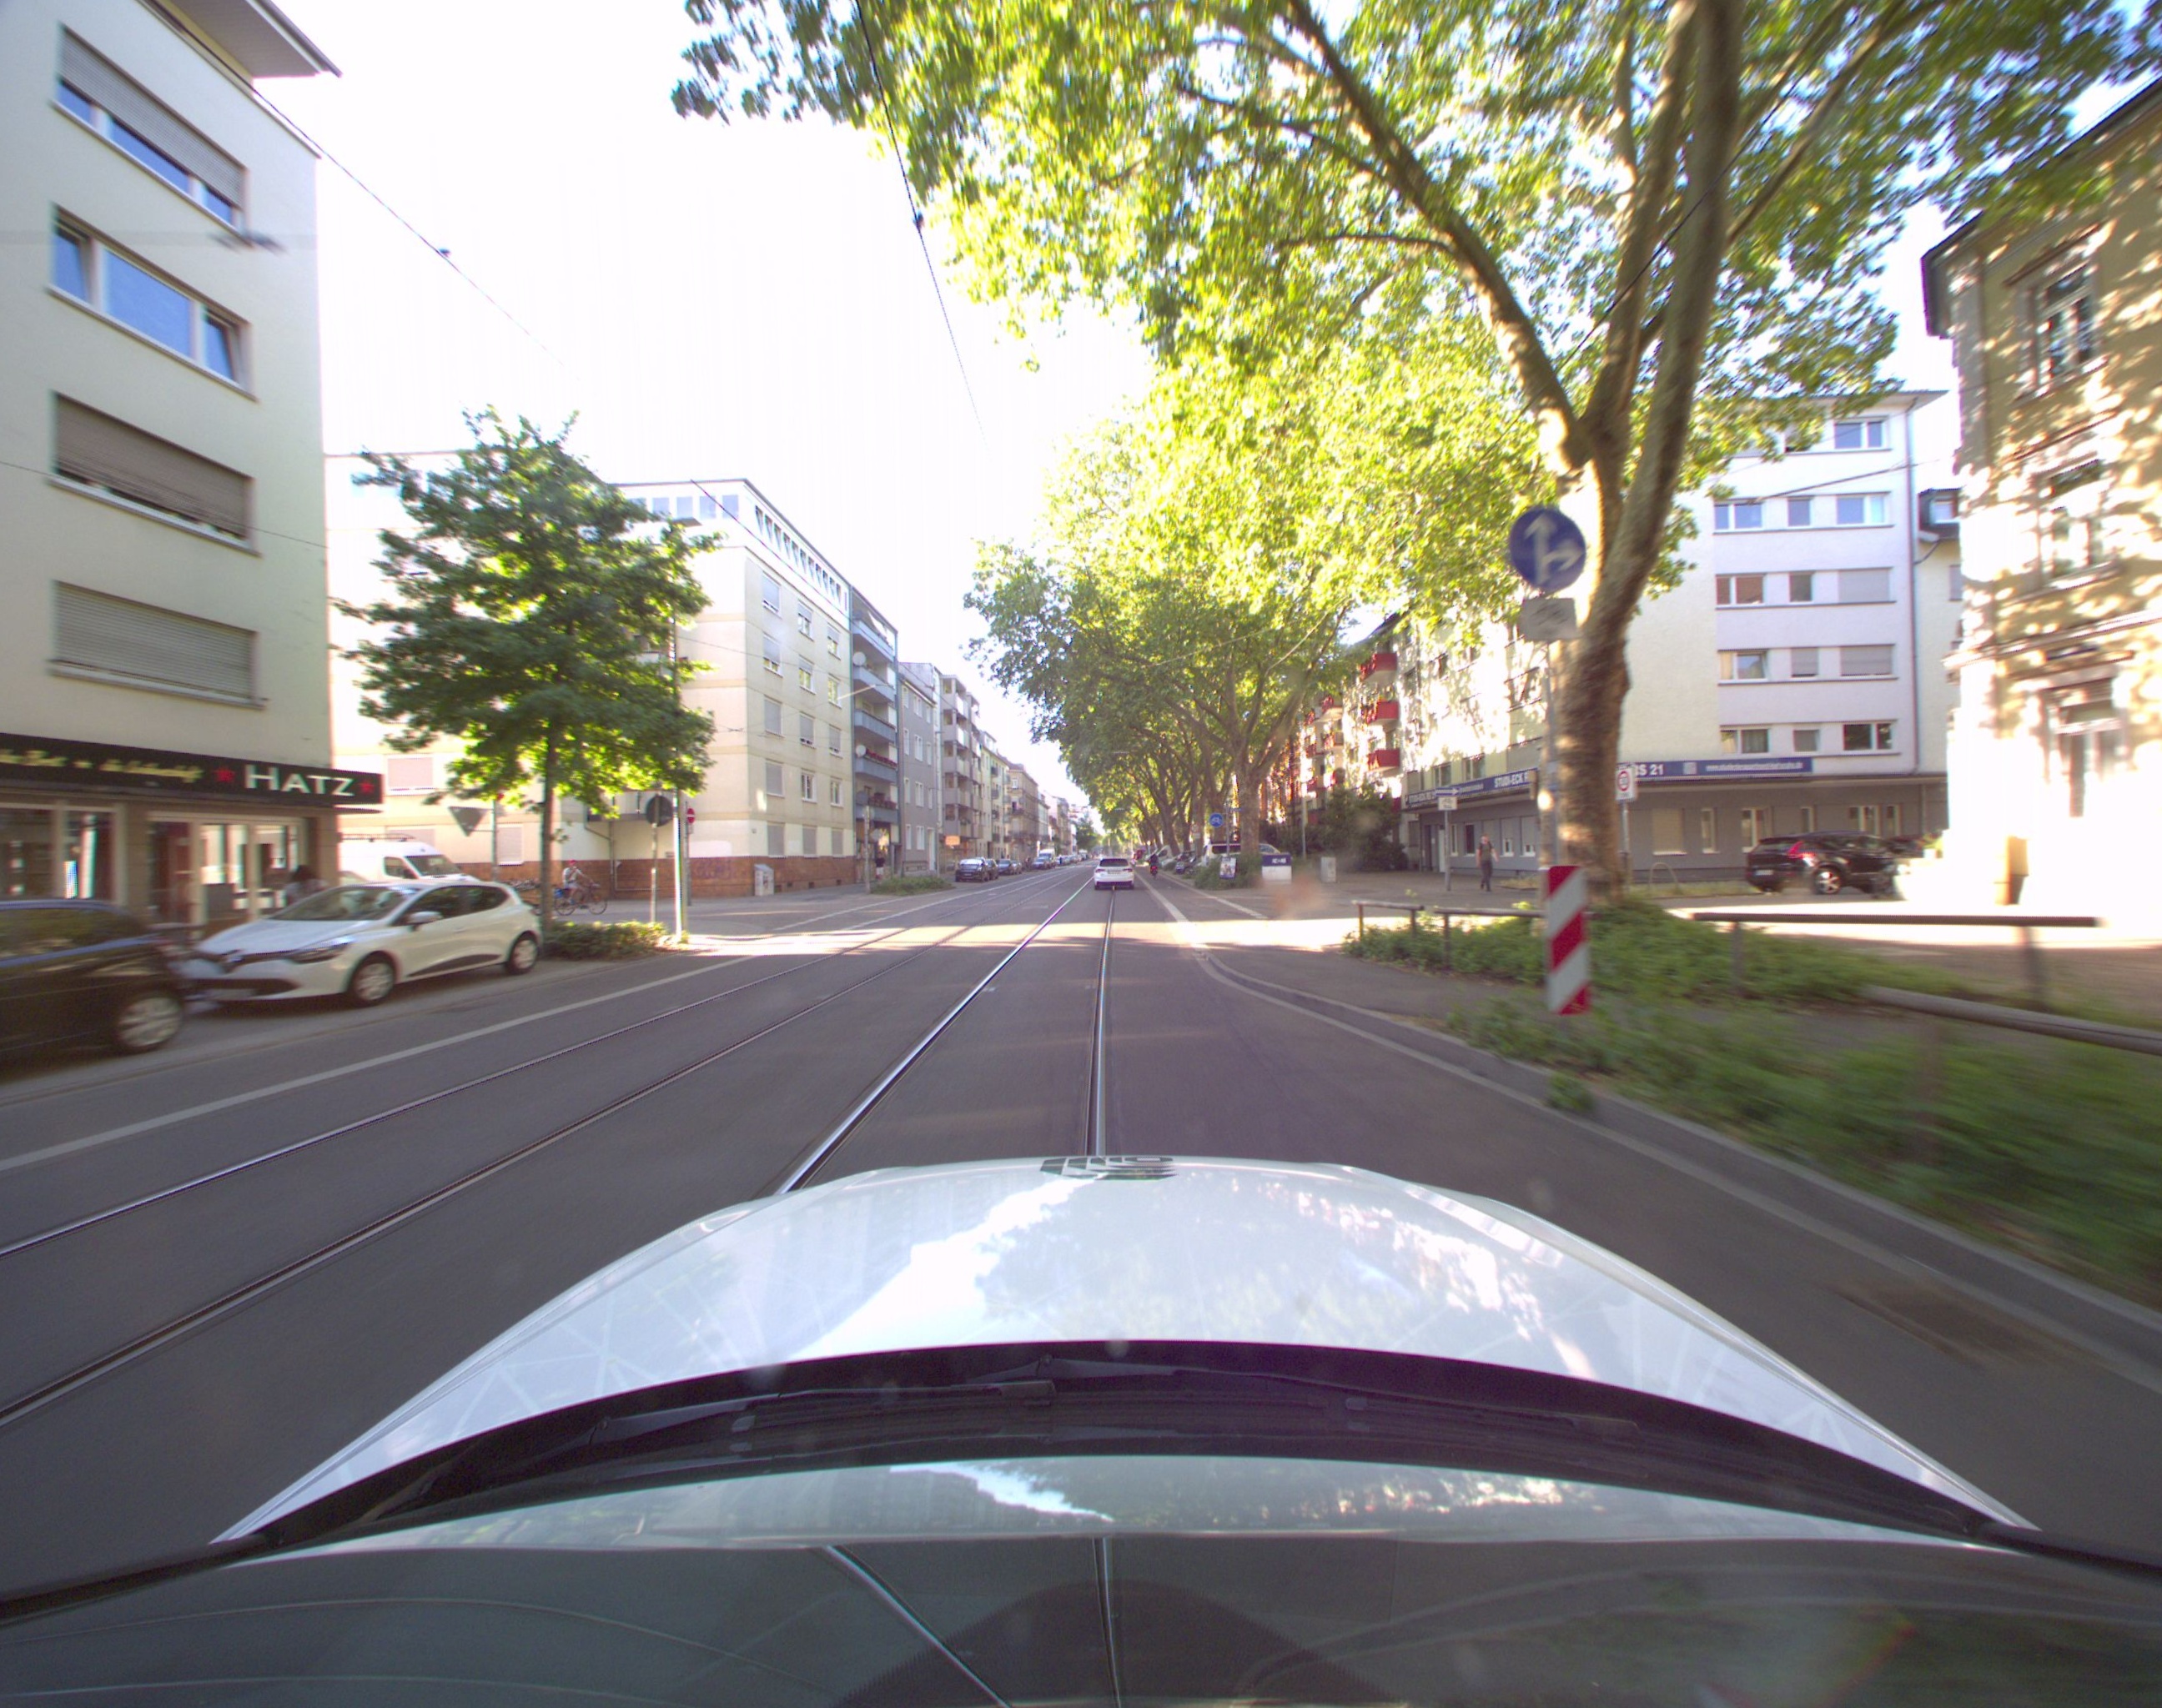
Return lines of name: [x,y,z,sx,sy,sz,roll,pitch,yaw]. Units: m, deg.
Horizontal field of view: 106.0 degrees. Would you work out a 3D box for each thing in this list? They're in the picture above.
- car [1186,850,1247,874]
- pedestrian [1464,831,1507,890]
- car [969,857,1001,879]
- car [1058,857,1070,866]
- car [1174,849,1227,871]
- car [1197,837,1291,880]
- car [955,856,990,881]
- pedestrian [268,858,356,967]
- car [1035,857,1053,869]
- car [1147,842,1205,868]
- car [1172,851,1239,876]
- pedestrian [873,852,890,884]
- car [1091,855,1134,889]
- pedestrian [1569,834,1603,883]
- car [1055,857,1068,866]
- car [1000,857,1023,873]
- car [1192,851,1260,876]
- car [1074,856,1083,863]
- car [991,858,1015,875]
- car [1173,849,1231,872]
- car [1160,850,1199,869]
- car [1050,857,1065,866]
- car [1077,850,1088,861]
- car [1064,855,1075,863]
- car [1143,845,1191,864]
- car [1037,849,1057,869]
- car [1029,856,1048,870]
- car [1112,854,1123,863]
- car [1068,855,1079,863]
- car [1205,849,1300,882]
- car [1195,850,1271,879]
car: [9.353,0.535,56.411,3.972,1.514,1.761,-2,0,1]
pedestrian: [13.304,0.206,26.831,0.764,1.866,1.188,-2,0,-1]
car: [-7.076,0.990,60.341,1.695,1.544,4.244,1,0,2]
car: [-3.048,1.343,146.143,1.985,1.530,4.003,-2,0,2]
car: [9.488,0.474,64.891,3.972,1.680,1.724,-2,0,1]
car: [8.506,0.253,42.772,4.529,2.076,2.000,-2,0,0]
car: [-7.317,0.950,55.360,1.696,1.650,4.242,1,0,1]
pedestrian: [-12.347,0.914,13.095,0.661,1.691,0.749,-1,-1,1]
car: [-4.783,1.148,105.921,1.985,1.530,4.003,-2,0,2]
car: [10.404,0.110,89.757,6.110,2.635,2.529,-2,0,0]
car: [8.222,0.630,54.004,4.128,1.514,1.931,-2,0,1]
pedestrian: [-11.452,0.809,46.722,0.661,1.826,0.965,-1,0,1]
car: [1.414,0.756,35.920,1.754,1.384,4.003,-2,0,3]
pedestrian: [17.270,0.141,27.855,0.743,1.644,0.666,-1,-1,3]
car: [-3.346,1.297,141.339,1.985,1.530,4.003,-2,0,2]
car: [-6.500,1.042,76.134,1.478,1.403,3.995,-1,0,5]
car: [9.156,0.587,51.719,4.020,1.479,1.924,-2,0,2]
car: [-0.554,1.264,193.982,1.985,1.640,4.002,-1,-1,2]
car: [-6.773,1.052,70.792,1.648,1.437,3.837,-1,0,1]
car: [9.276,0.506,62.589,4.219,1.666,1.848,-2,0,1]
car: [9.362,0.553,77.521,3.617,1.666,1.824,-2,0,4]
car: [-3.782,1.208,132.190,1.985,1.530,4.003,-2,0,2]
car: [0.359,0.553,234.738,2.956,3.155,5.850,-1,-1,2]
car: [-2.283,0.976,161.486,1.985,1.530,4.003,-2,0,2]
car: [11.356,0.090,108.366,6.110,2.282,2.529,-2,0,0]
car: [-4.631,0.630,111.870,2.170,2.597,4.952,-2,0,3]
car: [-5.199,1.099,100.148,1.985,1.530,4.003,-2,0,2]
car: [6.393,0.729,141.398,1.754,1.475,4.003,-2,0,3]
car: [-1.514,1.009,168.158,1.985,1.640,4.002,-1,-1,2]
car: [8.413,0.570,40.192,4.282,1.479,1.831,-2,0,1]
car: [8.472,0.573,45.488,3.885,1.479,1.723,-2,0,-1]
